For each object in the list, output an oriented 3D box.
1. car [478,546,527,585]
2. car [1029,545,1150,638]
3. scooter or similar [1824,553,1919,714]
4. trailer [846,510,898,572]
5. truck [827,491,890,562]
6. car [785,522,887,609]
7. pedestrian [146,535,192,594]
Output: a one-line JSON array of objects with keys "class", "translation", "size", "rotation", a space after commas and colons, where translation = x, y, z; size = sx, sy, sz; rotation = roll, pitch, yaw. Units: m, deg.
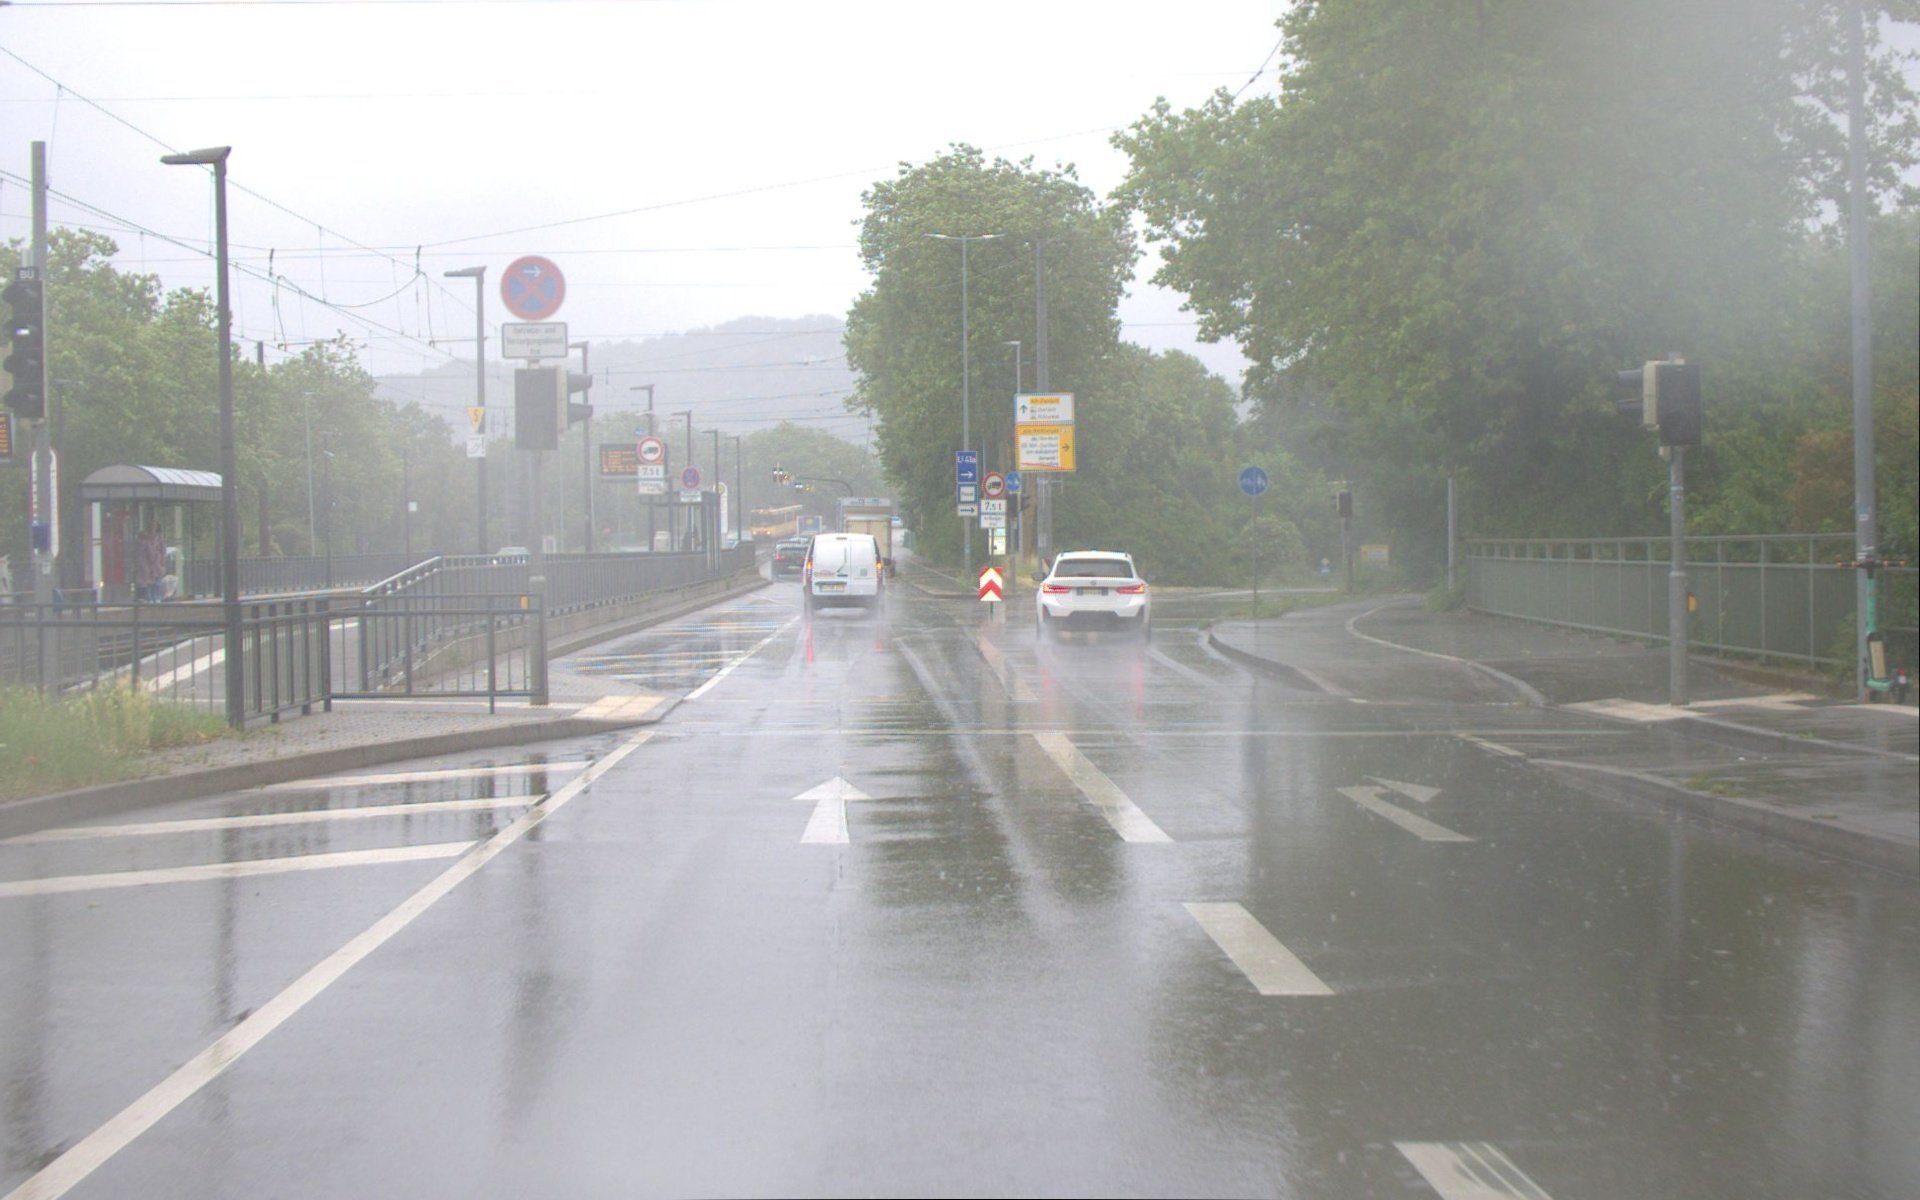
[{"class": "car", "translation": [-23.467, -1.768, 176.396], "size": [1.993, 2.007, 4.000], "rotation": [0, 0, -1]}, {"class": "car", "translation": [2.113, -0.163, 55.592], "size": [1.888, 1.426, 4.000], "rotation": [0, 1, 3]}, {"class": "scooter or similar", "translation": [7.722, 0.262, 28.479], "size": [0.759, 1.288, 1.647], "rotation": [0, 0, 2]}, {"class": "trailer", "translation": [-3.914, -2.614, 153.635], "size": [2.166, 2.748, 5.677], "rotation": [0, 0, 0]}, {"class": "truck", "translation": [-5.505, -3.875, 184.773], "size": [2.775, 3.691, 9.854], "rotation": [0, 1, -5]}, {"class": "car", "translation": [-2.752, -0.773, 75.542], "size": [1.993, 1.842, 4.001], "rotation": [0, 1, -5]}, {"class": "pedestrian", "translation": [-17.791, -0.810, 77.310], "size": [0.831, 1.312, 0.858], "rotation": [1, 1, -1]}]
